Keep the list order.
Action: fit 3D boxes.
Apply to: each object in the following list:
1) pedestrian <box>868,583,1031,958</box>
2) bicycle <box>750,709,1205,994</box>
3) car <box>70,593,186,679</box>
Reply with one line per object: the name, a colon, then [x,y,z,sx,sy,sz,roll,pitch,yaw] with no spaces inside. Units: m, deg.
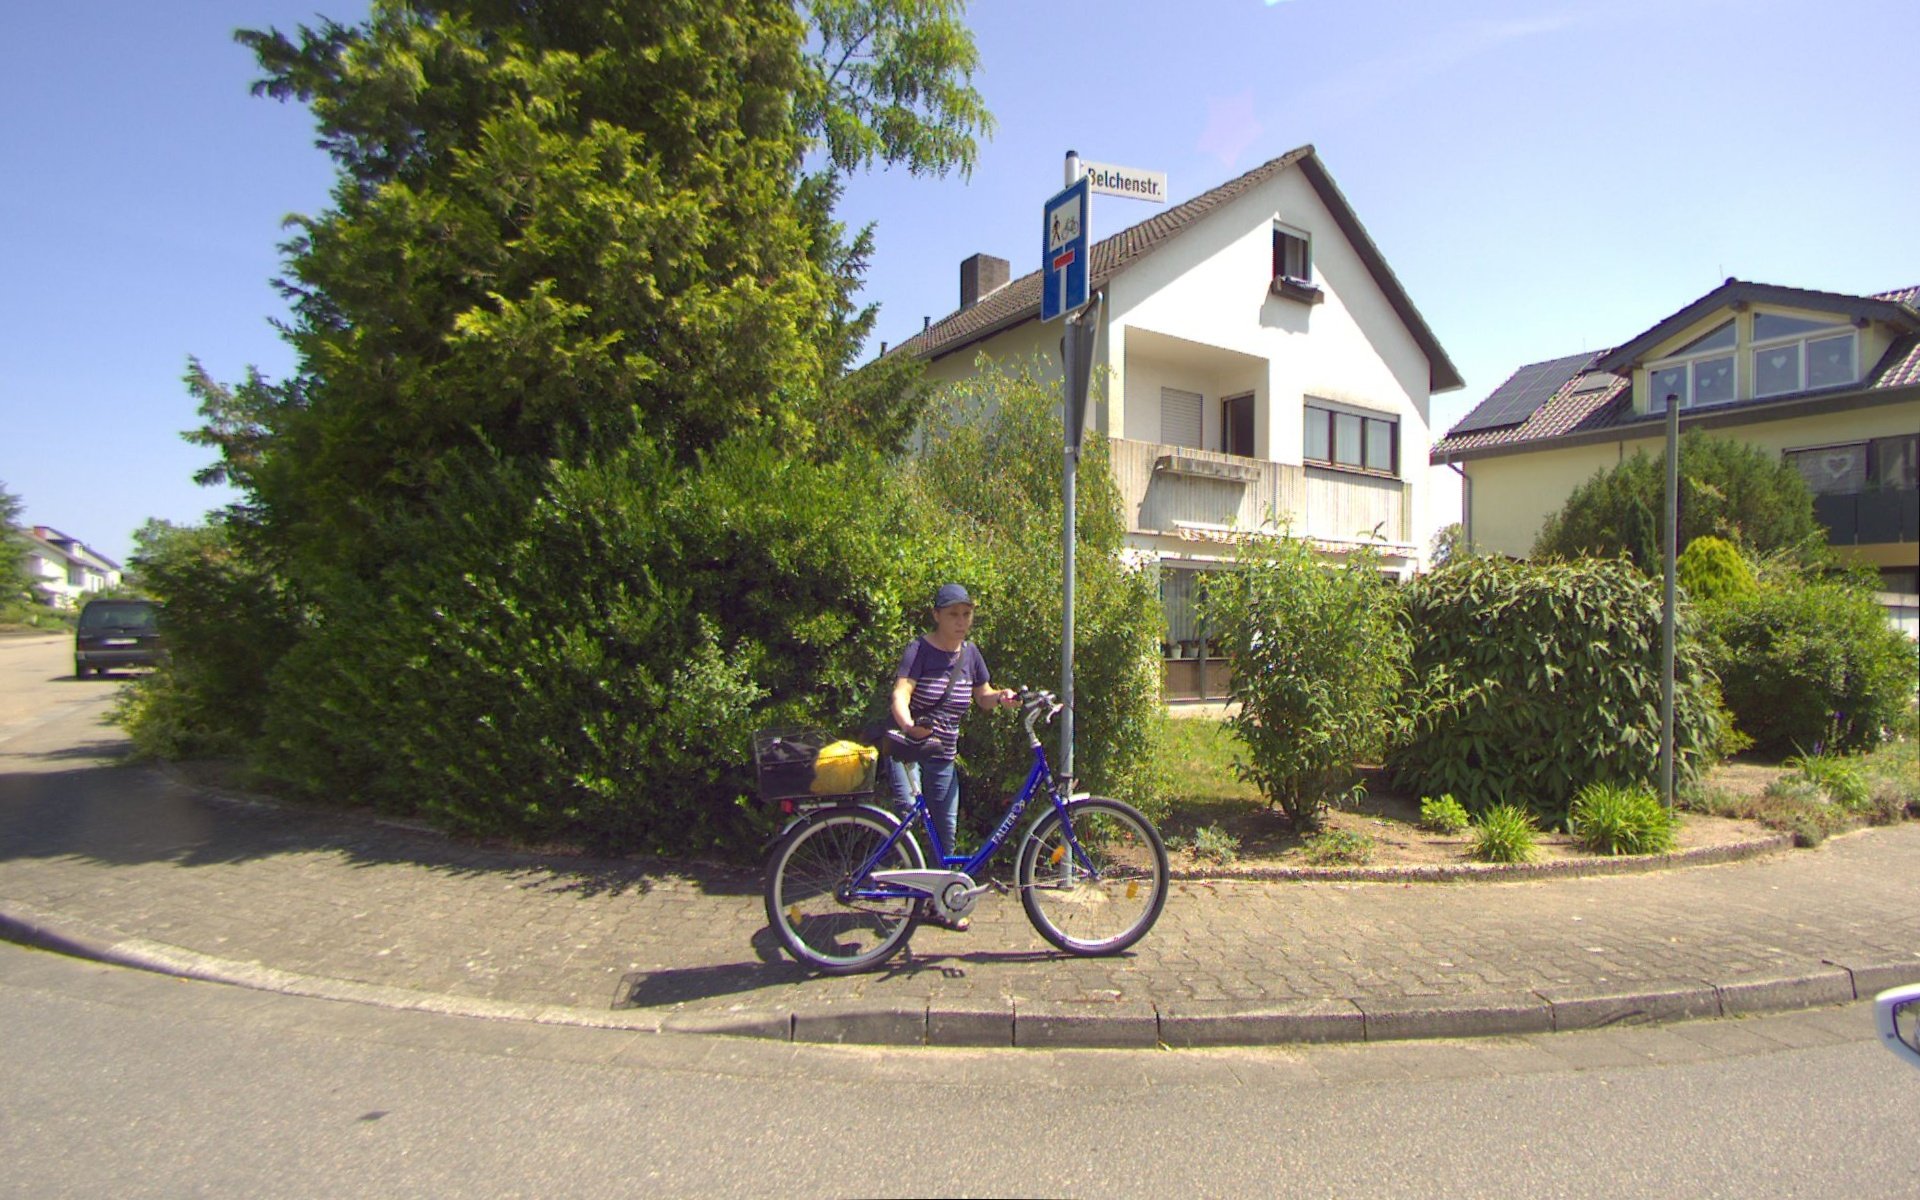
pedestrian: [-0.059,0.699,4.403,0.602,1.521,0.503,1,0,-15]
bicycle: [0.074,0.971,4.123,1.817,0.976,0.442,1,-1,-14]
car: [-19.614,0.804,23.818,1.706,1.870,4.016,1,-1,-34]
